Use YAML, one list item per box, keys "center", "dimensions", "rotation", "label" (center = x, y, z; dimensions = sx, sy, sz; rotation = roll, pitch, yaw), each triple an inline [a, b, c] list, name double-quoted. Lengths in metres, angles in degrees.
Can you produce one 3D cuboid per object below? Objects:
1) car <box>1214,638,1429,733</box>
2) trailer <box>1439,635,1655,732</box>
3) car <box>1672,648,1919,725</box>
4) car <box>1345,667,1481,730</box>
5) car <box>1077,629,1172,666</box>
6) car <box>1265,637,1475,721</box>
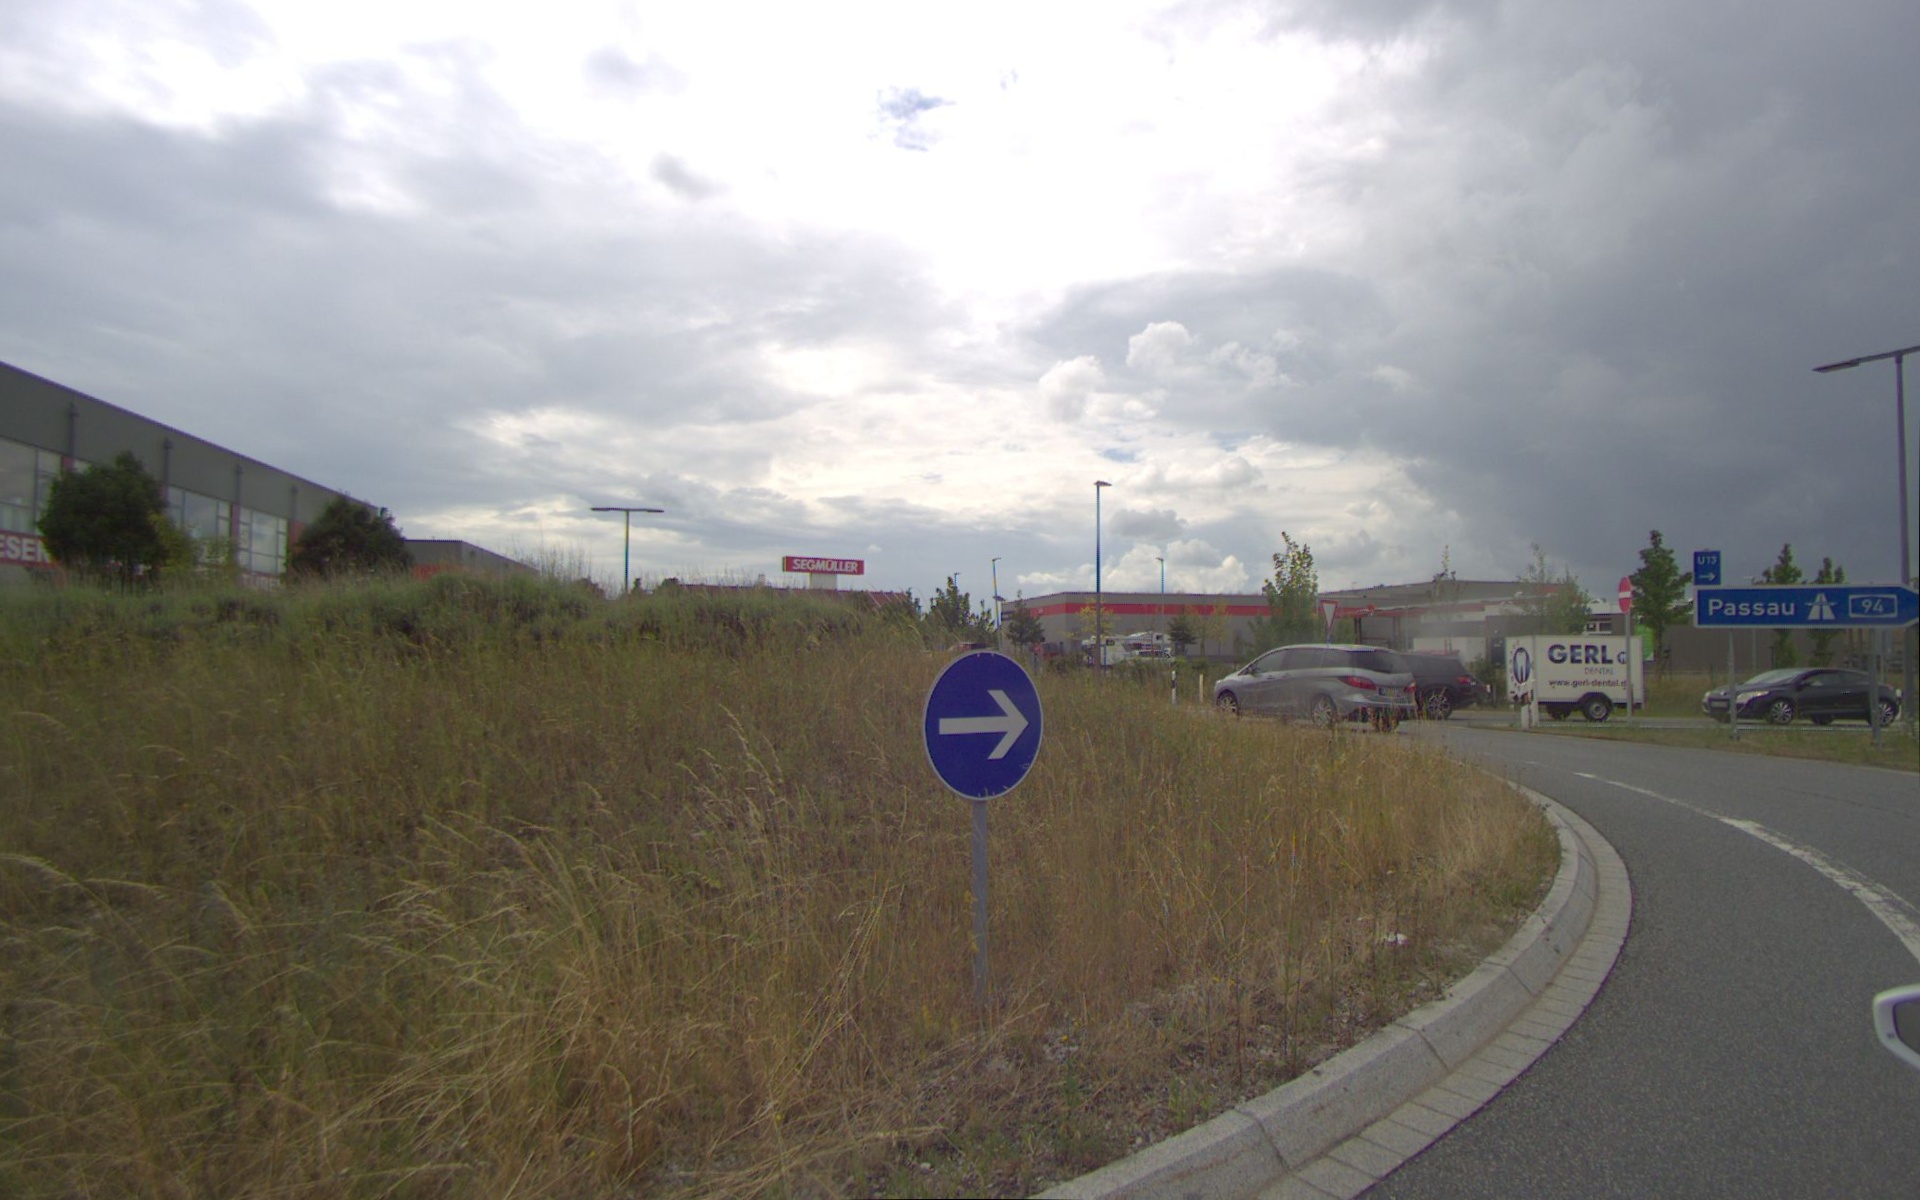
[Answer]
- center: [6.989, 1.590, 19.852]
  dimensions: [1.720, 1.620, 3.973]
  rotation: [1, -2, -25]
  label: "car"
- center: [14.825, 2.057, 25.596]
  dimensions: [4.283, 2.213, 2.001]
  rotation: [1, -1, 8]
  label: "trailer"
- center: [20.716, 2.132, 25.031]
  dimensions: [4.501, 1.705, 2.001]
  rotation: [2, -4, 0]
  label: "car"
- center: [15.141, 3.249, 33.612]
  dimensions: [3.932, 1.773, 1.652]
  rotation: [1, -2, 34]
  label: "car"
- center: [13.899, 4.016, 85.044]
  dimensions: [7.562, 2.857, 2.463]
  rotation: [2, -1, -15]
  label: "car"
- center: [10.412, 1.979, 25.831]
  dimensions: [4.588, 1.783, 2.001]
  rotation: [2, 0, 6]
  label: "car"
